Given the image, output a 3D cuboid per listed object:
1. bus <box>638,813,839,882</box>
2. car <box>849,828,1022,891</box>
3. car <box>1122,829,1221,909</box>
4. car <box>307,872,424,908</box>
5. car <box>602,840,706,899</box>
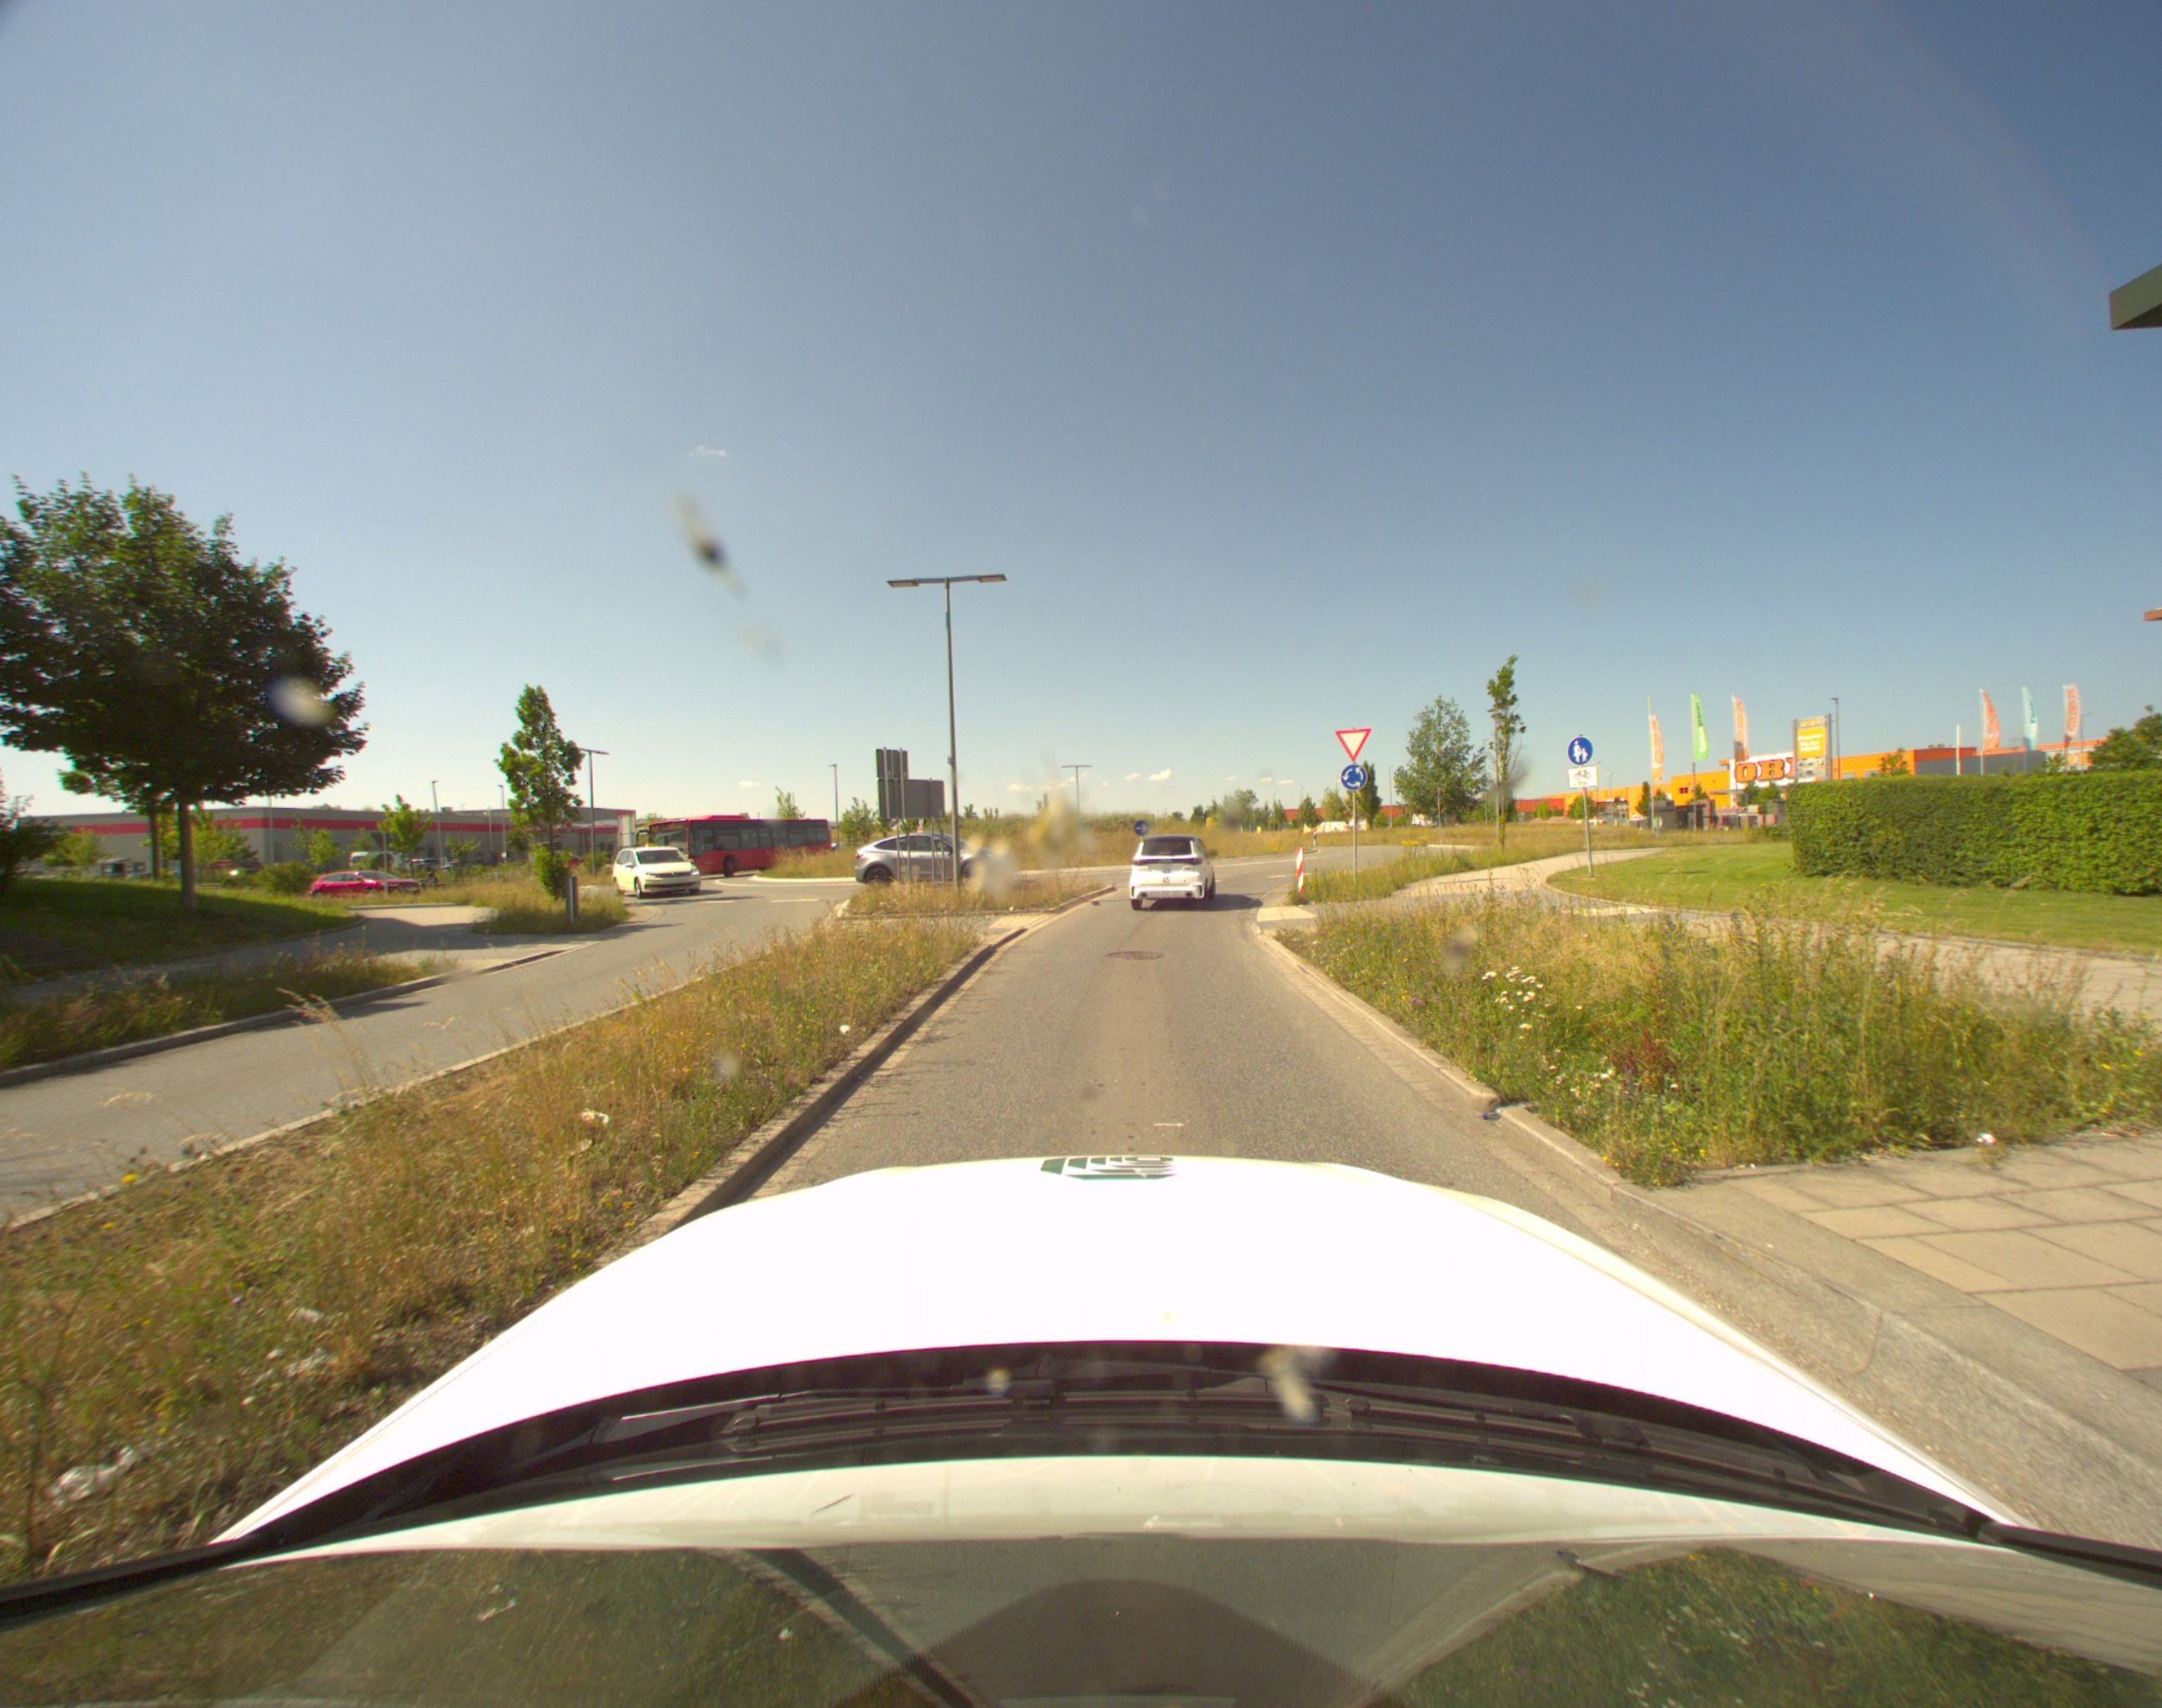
[{"bbox_3d":[-17.738,-0.565,43.790,2.766,3.078,12.256,-3,2,15],"label":"bus"},{"bbox_3d":[-4.260,0.142,24.169,4.581,1.625,1.970,-2,2,10],"label":"car"},{"bbox_3d":[2.060,0.242,17.570,1.605,1.434,3.807,-2,2,13],"label":"car"},{"bbox_3d":[-31.827,1.609,36.289,3.967,1.387,1.576,-2,1,6],"label":"car"},{"bbox_3d":[-14.134,0.522,26.841,1.857,1.665,4.534,-5,2,-42],"label":"car"}]
